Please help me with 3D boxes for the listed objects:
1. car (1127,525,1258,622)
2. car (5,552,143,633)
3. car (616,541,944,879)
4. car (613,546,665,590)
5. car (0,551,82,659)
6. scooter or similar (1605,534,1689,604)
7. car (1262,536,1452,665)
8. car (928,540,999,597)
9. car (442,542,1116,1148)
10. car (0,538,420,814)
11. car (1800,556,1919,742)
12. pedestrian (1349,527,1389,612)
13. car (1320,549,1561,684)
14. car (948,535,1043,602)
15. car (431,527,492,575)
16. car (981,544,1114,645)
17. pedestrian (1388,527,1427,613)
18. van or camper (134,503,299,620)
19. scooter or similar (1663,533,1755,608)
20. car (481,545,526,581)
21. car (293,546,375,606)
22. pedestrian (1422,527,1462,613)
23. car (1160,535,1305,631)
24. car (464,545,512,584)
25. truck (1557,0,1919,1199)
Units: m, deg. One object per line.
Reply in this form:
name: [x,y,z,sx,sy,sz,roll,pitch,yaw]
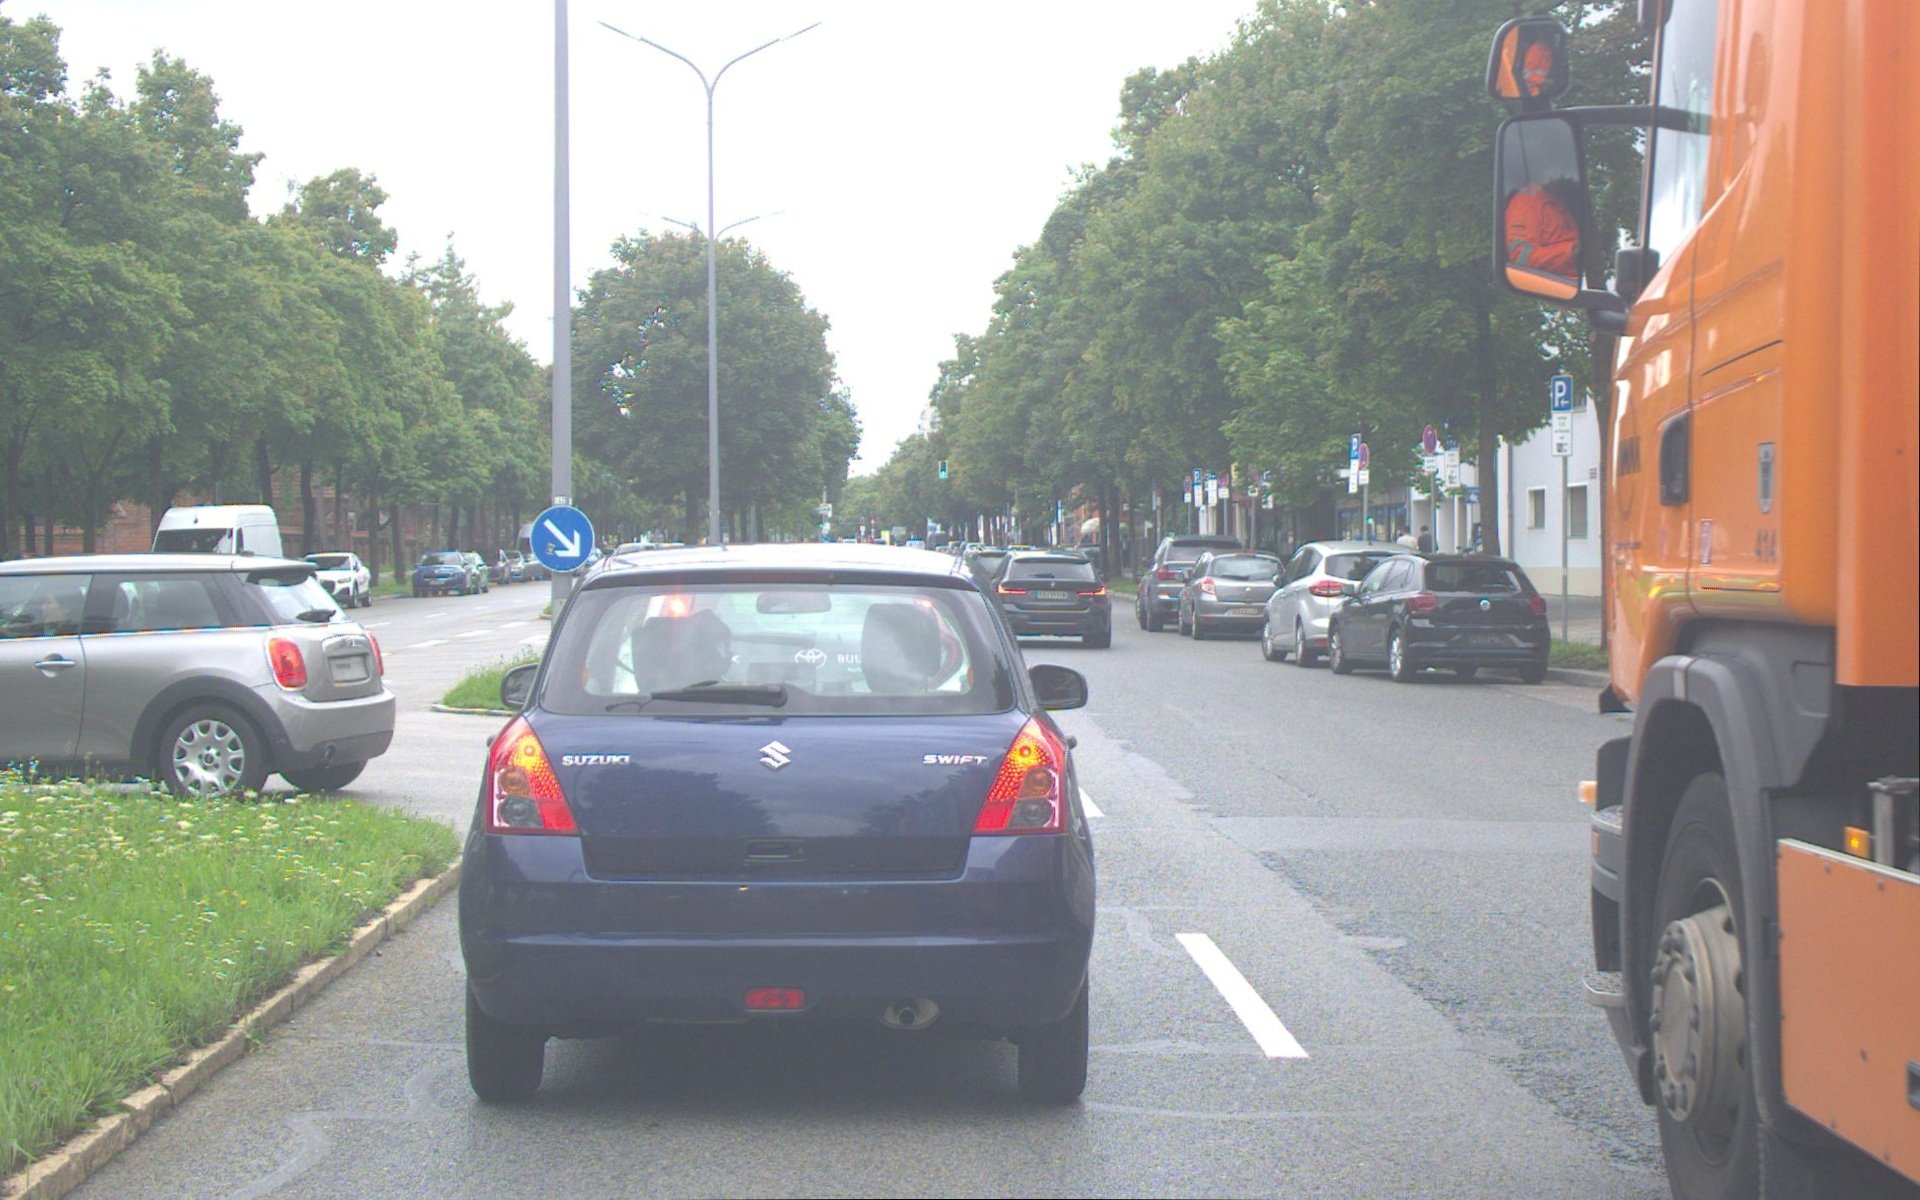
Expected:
car: [4.173,-0.512,62.196,1.865,1.677,4.225,-1,1,-3]
car: [-16.181,-0.164,62.925,1.632,1.426,3.879,1,1,-2]
car: [-0.859,0.462,16.744,1.444,1.478,3.107,0,1,-2]
car: [-11.566,-1.171,124.036,1.632,1.547,3.879,1,1,-2]
car: [-15.963,0.052,57.594,1.632,1.735,3.879,1,1,-2]
scooter or similar: [13.120,-0.599,65.735,1.033,1.303,2.755,0,1,-1]
car: [5.057,-0.031,44.274,1.791,1.553,4.225,-1,1,-2]
car: [0.068,-0.823,87.863,1.682,1.379,3.919,1,1,-2]
car: [-0.531,0.580,10.566,1.682,1.496,3.919,0,1,-2]
car: [-5.134,0.381,19.541,3.723,1.458,1.687,0,1,12]
car: [8.584,0.366,26.934,3.553,1.412,1.869,0,1,27]
pedestrian: [9.679,-0.732,81.377,0.794,2.007,1.006,0,1,-1]
car: [5.452,0.150,39.507,1.865,1.412,4.225,-1,1,-4]
car: [0.768,-0.729,77.618,1.731,1.427,4.443,1,1,-4]
car: [-16.752,-1.636,115.646,1.632,1.577,3.879,1,1,-2]
car: [1.271,-0.116,51.801,1.758,1.408,4.463,1,1,-1]
pedestrian: [10.582,-0.720,81.310,0.794,2.007,1.006,0,1,-1]
van or camper: [-16.587,-0.861,77.096,2.117,2.473,7.449,1,1,0]
scooter or similar: [13.414,-0.549,61.653,1.033,1.303,2.755,0,1,-1]
car: [-20.649,-1.664,155.527,1.632,1.577,3.879,1,1,-2]
car: [-16.840,-0.657,92.626,1.632,1.577,3.879,1,1,-2]
pedestrian: [11.398,-0.711,81.344,0.794,2.007,1.006,0,1,-1]
car: [4.521,-0.320,57.531,1.865,1.512,4.225,-1,1,-3]
car: [-19.998,-1.511,145.714,1.632,1.577,3.879,1,1,-2]
truck: [2.980,-0.109,3.432,3.039,3.178,9.134,1,1,-1]
